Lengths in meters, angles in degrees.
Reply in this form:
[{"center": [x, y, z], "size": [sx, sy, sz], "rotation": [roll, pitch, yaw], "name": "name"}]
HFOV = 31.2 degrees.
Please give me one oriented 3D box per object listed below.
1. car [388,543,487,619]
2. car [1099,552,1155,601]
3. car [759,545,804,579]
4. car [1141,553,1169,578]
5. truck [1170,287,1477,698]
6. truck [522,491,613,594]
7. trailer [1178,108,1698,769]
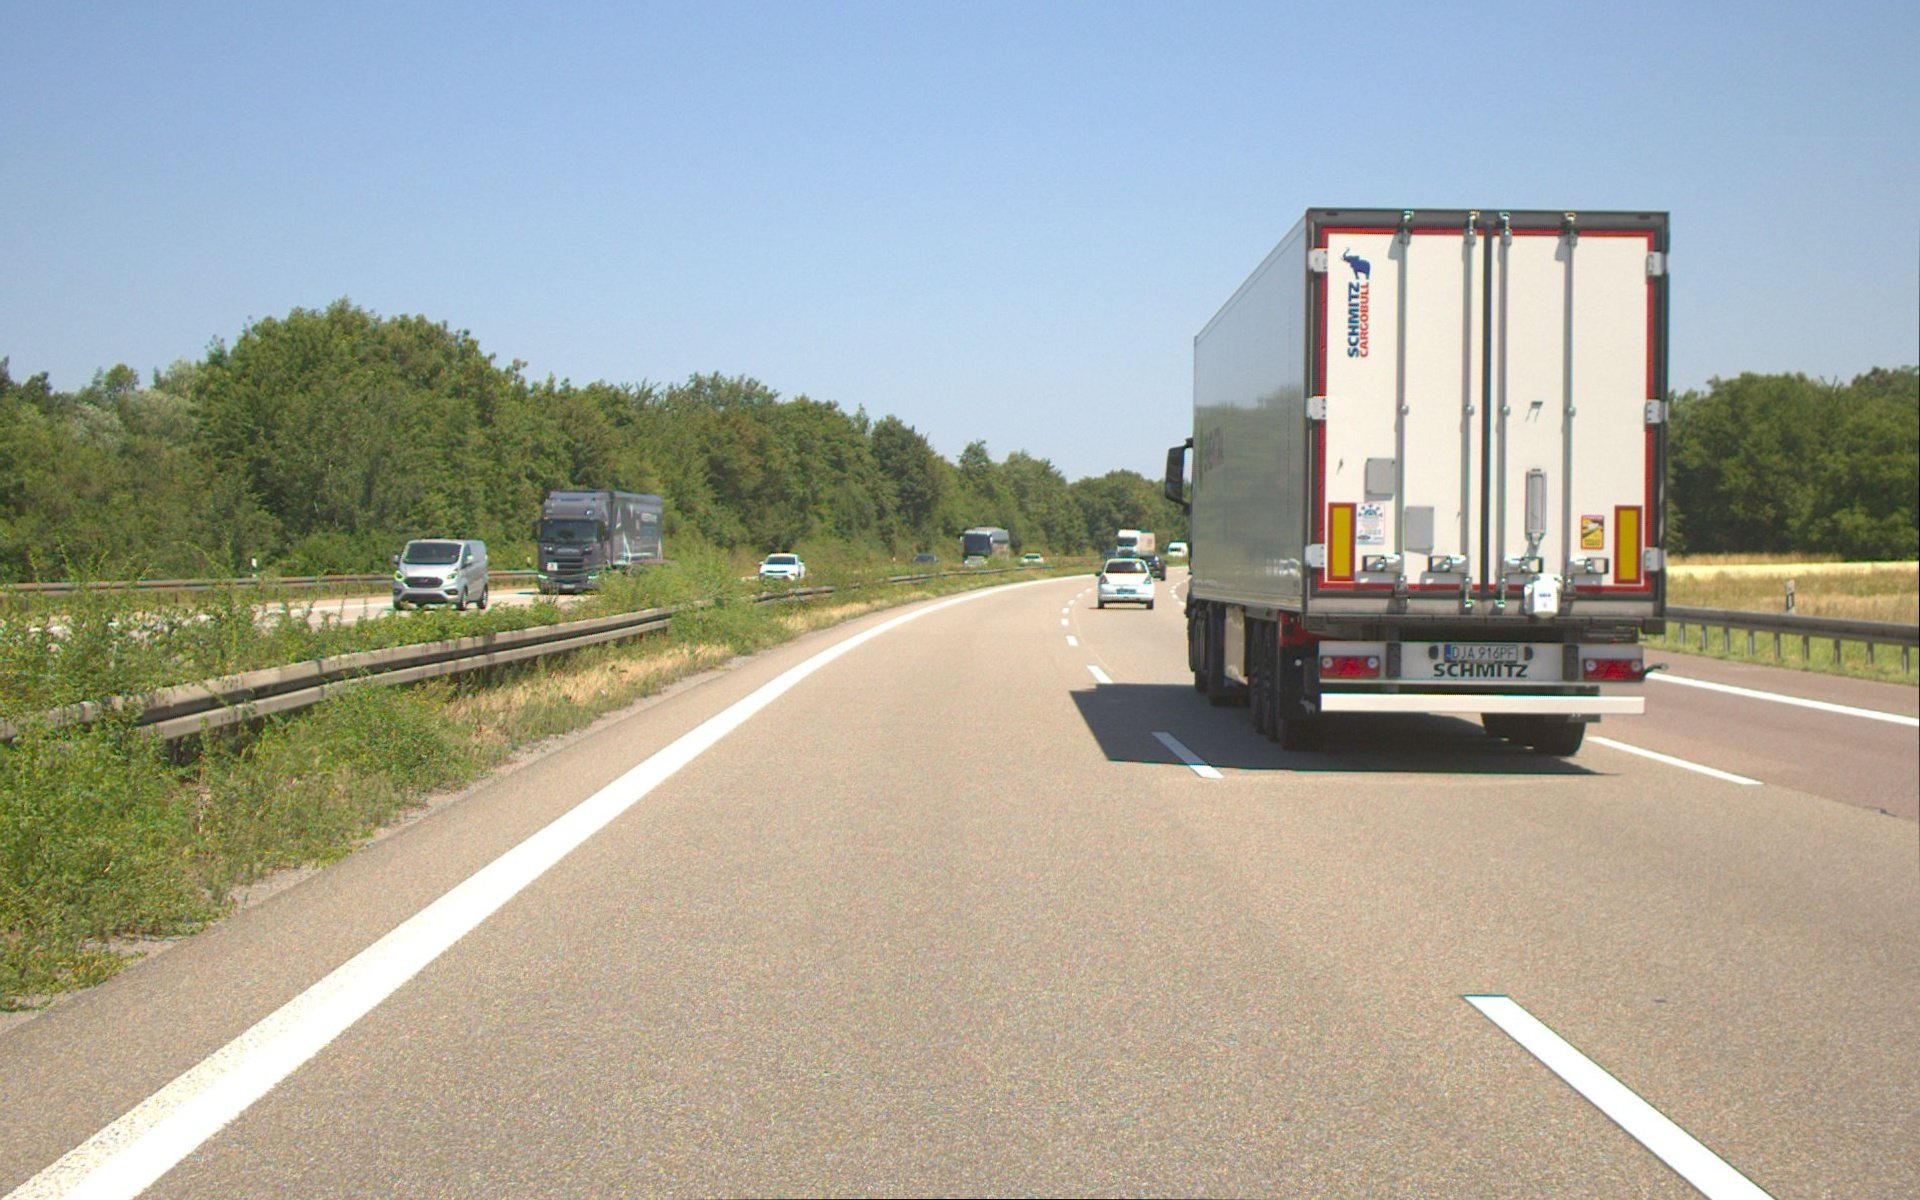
[{"center": [-14.655, -0.544, 96.720], "size": [2.058, 2.064, 5.409], "rotation": [0, 1, -1], "name": "car"}, {"center": [5.090, -0.717, 104.332], "size": [1.627, 1.474, 4.000], "rotation": [0, 1, 4], "name": "car"}, {"center": [-8.404, -1.777, 161.897], "size": [1.842, 1.581, 4.488], "rotation": [0, 1, 1], "name": "car"}, {"center": [11.821, -2.099, 208.116], "size": [1.627, 1.474, 4.000], "rotation": [0, 1, 4], "name": "car"}, {"center": [3.932, -1.150, 38.267], "size": [2.908, 4.241, 4.975], "rotation": [1, 1, 1], "name": "truck"}, {"center": [-15.014, -2.200, 131.696], "size": [2.893, 3.902, 4.000], "rotation": [0, 1, 2], "name": "truck"}, {"center": [3.821, -1.247, 31.307], "size": [2.901, 4.641, 13.986], "rotation": [1, 1, 1], "name": "trailer"}]
